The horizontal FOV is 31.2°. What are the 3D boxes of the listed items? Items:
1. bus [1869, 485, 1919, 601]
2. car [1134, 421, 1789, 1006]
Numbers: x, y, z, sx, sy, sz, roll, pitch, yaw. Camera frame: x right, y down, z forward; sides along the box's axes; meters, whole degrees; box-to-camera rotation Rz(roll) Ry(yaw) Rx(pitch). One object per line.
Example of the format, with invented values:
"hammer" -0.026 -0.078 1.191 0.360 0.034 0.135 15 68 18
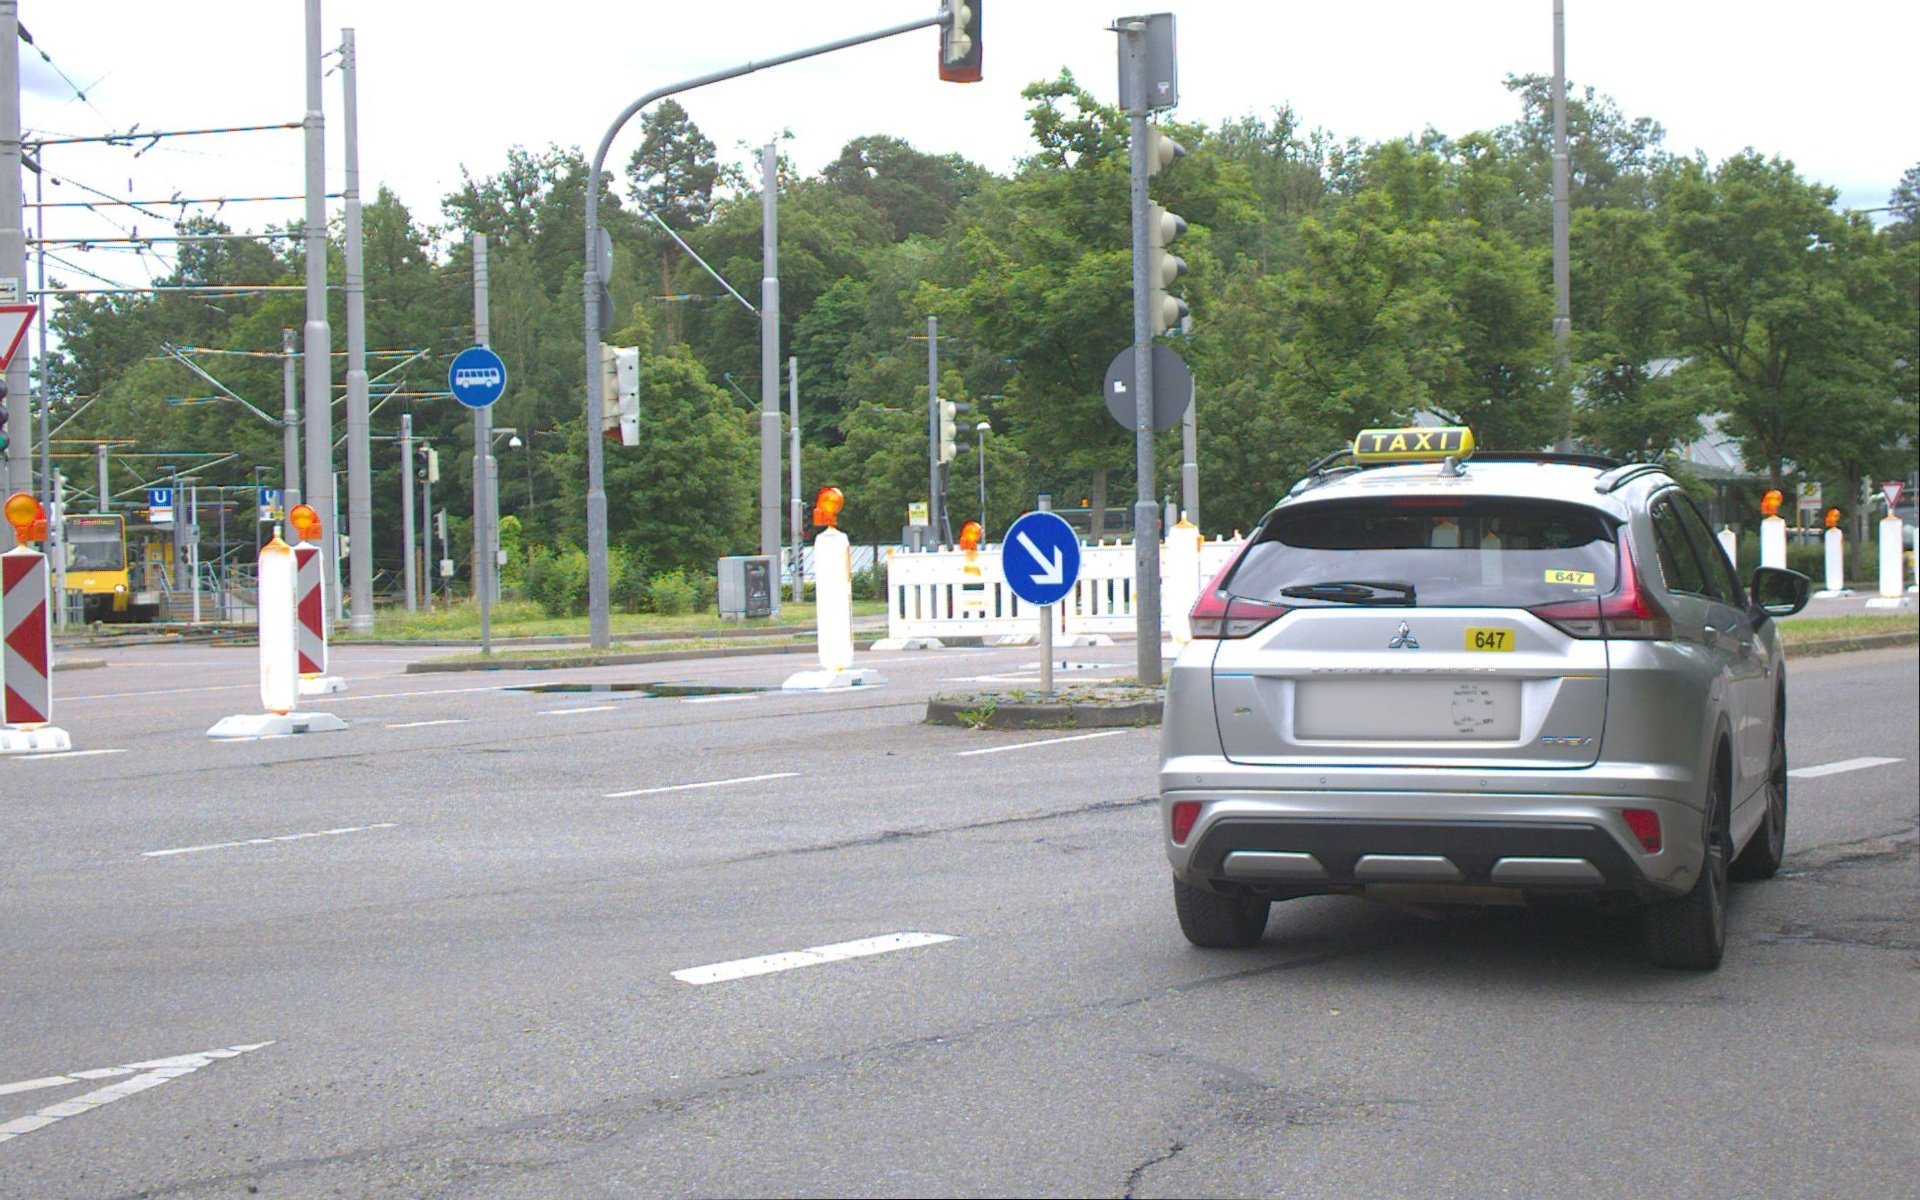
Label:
"bus" 31.727 -1.910 112.666 2.823 3.591 12.798 -1 1 11
"car" 1.941 0.323 12.303 1.775 1.742 3.777 0 0 17
